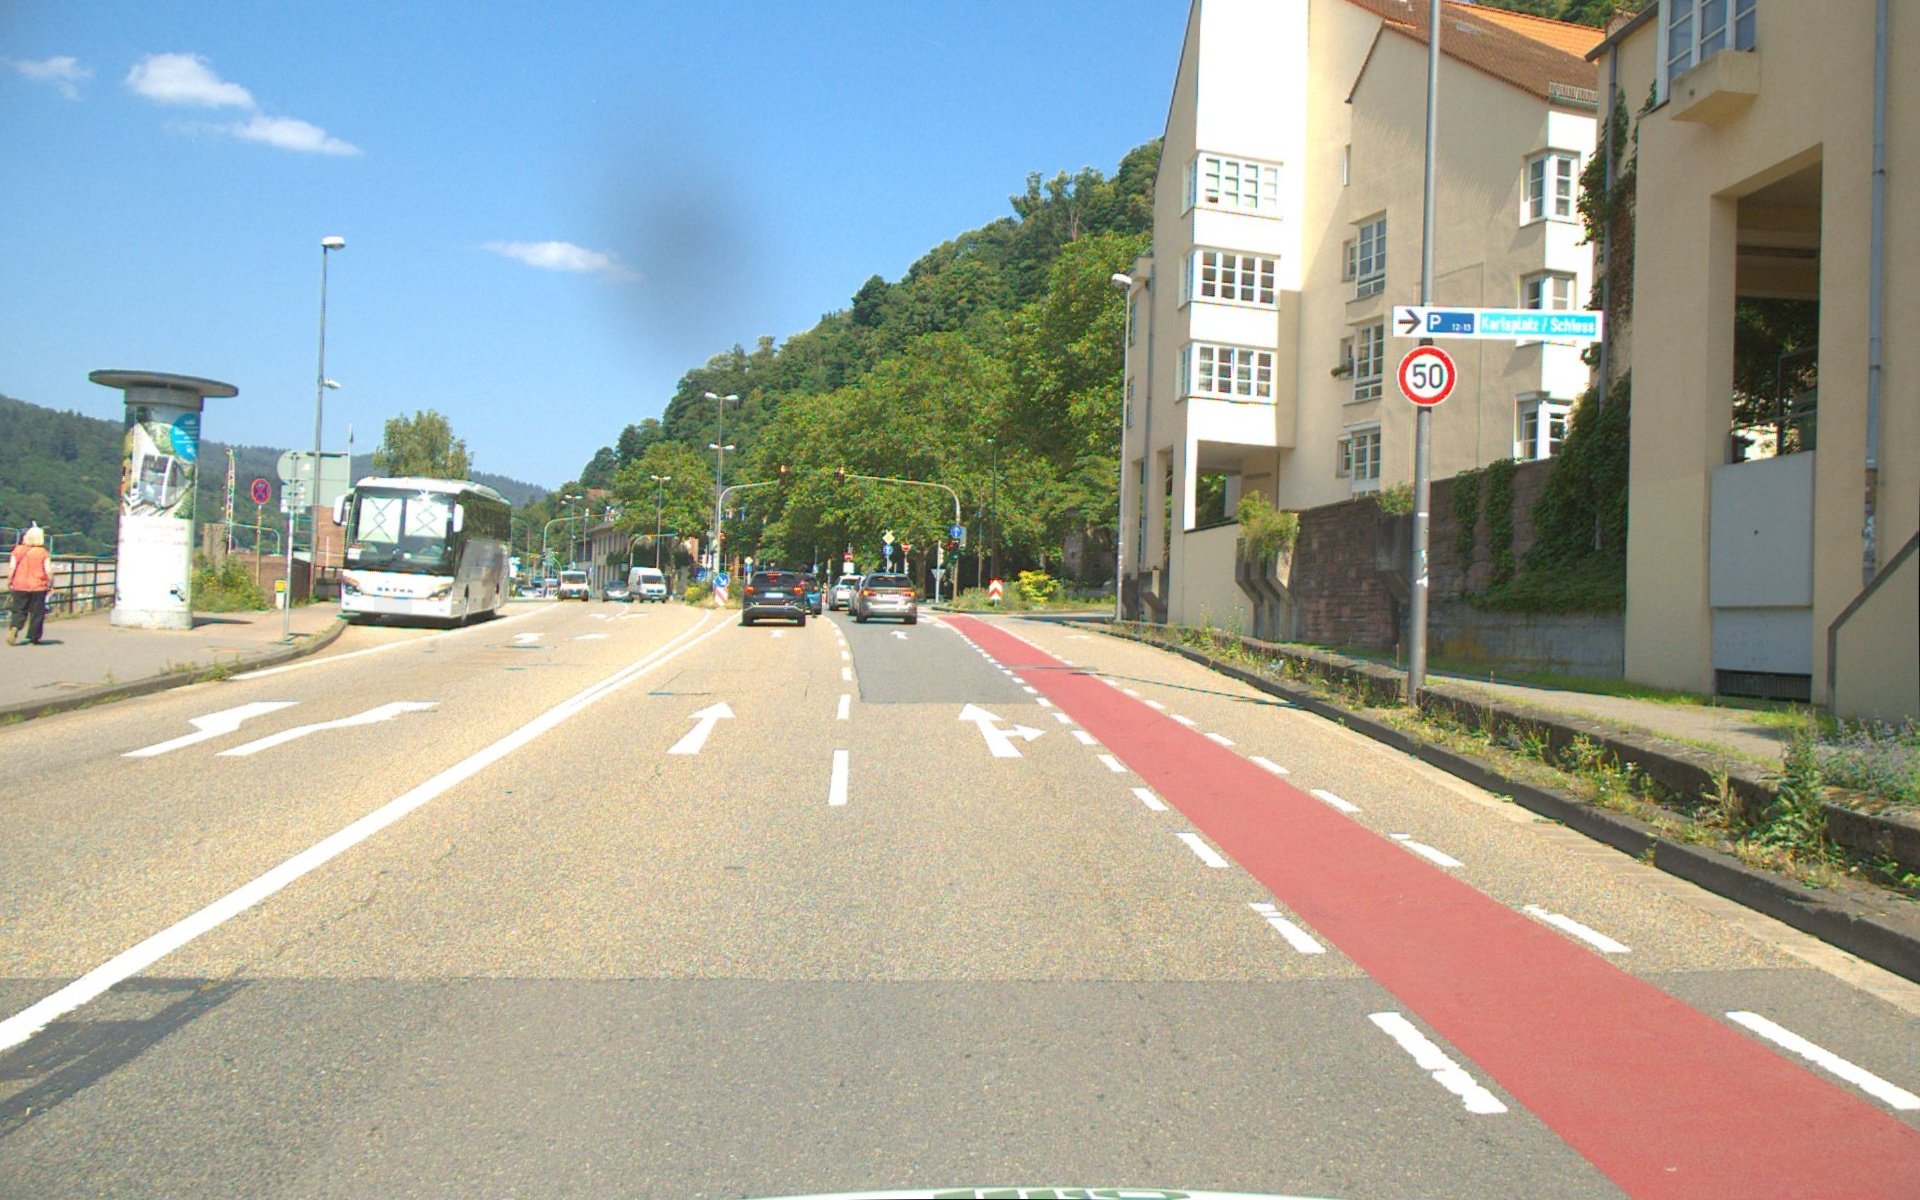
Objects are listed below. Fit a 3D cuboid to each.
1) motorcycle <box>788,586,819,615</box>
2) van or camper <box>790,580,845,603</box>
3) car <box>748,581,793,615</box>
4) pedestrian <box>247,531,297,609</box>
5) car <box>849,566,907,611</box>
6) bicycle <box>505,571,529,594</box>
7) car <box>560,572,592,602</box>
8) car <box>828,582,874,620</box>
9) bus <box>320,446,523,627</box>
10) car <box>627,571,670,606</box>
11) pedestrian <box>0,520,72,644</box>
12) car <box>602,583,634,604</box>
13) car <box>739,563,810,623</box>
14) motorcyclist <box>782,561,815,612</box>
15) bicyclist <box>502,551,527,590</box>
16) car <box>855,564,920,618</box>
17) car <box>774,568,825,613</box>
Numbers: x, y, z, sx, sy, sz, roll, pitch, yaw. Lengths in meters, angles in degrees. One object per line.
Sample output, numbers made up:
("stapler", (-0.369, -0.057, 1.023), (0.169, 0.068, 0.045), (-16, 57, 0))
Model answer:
("motorcycle", (-5.351, 0.001, 56.627), (1.017, 0.935, 2.602), (1, 1, -5))
("van or camper", (-12.626, -0.746, 146.781), (4.445, 1.935, 2.002), (1, 0, 11))
("car", (-8.088, -0.103, 70.366), (1.831, 1.382, 3.994), (1, 1, -7))
("pedestrian", (-16.675, -0.720, 40.103), (0.876, 1.827, 1.038), (2, 0, -11))
("car", (-3.123, -0.441, 62.298), (1.955, 1.560, 4.853), (2, 0, -5))
("bicycle", (-23.104, -0.923, 86.315), (1.192, 1.109, 2.587), (1, 1, -15))
("car", (-28.350, -0.965, 122.267), (2.176, 2.114, 5.028), (1, 1, -13))
("car", (-4.692, 0.021, 70.739), (1.751, 1.559, 4.731), (1, 0, -6))
("bus", (-14.083, -1.546, 44.515), (2.903, 3.865, 13.215), (5, 0, -10))
("car", (-24.237, -0.901, 128.464), (2.349, 2.621, 6.019), (1, 0, -20))
("pedestrian", (-12.681, -0.246, 22.637), (0.690, 1.649, 0.814), (2, 0, -13))
("car", (-25.584, -0.517, 123.507), (1.962, 1.457, 4.148), (1, 1, -17))
("car", (-5.249, -0.197, 46.849), (1.833, 1.540, 4.145), (3, 0, -6))
("motorcyclist", (-5.507, -0.460, 56.445), (1.055, 1.713, 1.155), (1, 0, -5))
("bicyclist", (-23.246, -1.543, 86.339), (1.192, 2.049, 1.114), (1, 1, -15))
("car", (-2.305, -0.272, 51.685), (1.851, 1.547, 4.302), (3, 0, -4))
("car", (-6.124, -0.375, 62.865), (1.831, 1.589, 3.994), (1, 1, -7))
